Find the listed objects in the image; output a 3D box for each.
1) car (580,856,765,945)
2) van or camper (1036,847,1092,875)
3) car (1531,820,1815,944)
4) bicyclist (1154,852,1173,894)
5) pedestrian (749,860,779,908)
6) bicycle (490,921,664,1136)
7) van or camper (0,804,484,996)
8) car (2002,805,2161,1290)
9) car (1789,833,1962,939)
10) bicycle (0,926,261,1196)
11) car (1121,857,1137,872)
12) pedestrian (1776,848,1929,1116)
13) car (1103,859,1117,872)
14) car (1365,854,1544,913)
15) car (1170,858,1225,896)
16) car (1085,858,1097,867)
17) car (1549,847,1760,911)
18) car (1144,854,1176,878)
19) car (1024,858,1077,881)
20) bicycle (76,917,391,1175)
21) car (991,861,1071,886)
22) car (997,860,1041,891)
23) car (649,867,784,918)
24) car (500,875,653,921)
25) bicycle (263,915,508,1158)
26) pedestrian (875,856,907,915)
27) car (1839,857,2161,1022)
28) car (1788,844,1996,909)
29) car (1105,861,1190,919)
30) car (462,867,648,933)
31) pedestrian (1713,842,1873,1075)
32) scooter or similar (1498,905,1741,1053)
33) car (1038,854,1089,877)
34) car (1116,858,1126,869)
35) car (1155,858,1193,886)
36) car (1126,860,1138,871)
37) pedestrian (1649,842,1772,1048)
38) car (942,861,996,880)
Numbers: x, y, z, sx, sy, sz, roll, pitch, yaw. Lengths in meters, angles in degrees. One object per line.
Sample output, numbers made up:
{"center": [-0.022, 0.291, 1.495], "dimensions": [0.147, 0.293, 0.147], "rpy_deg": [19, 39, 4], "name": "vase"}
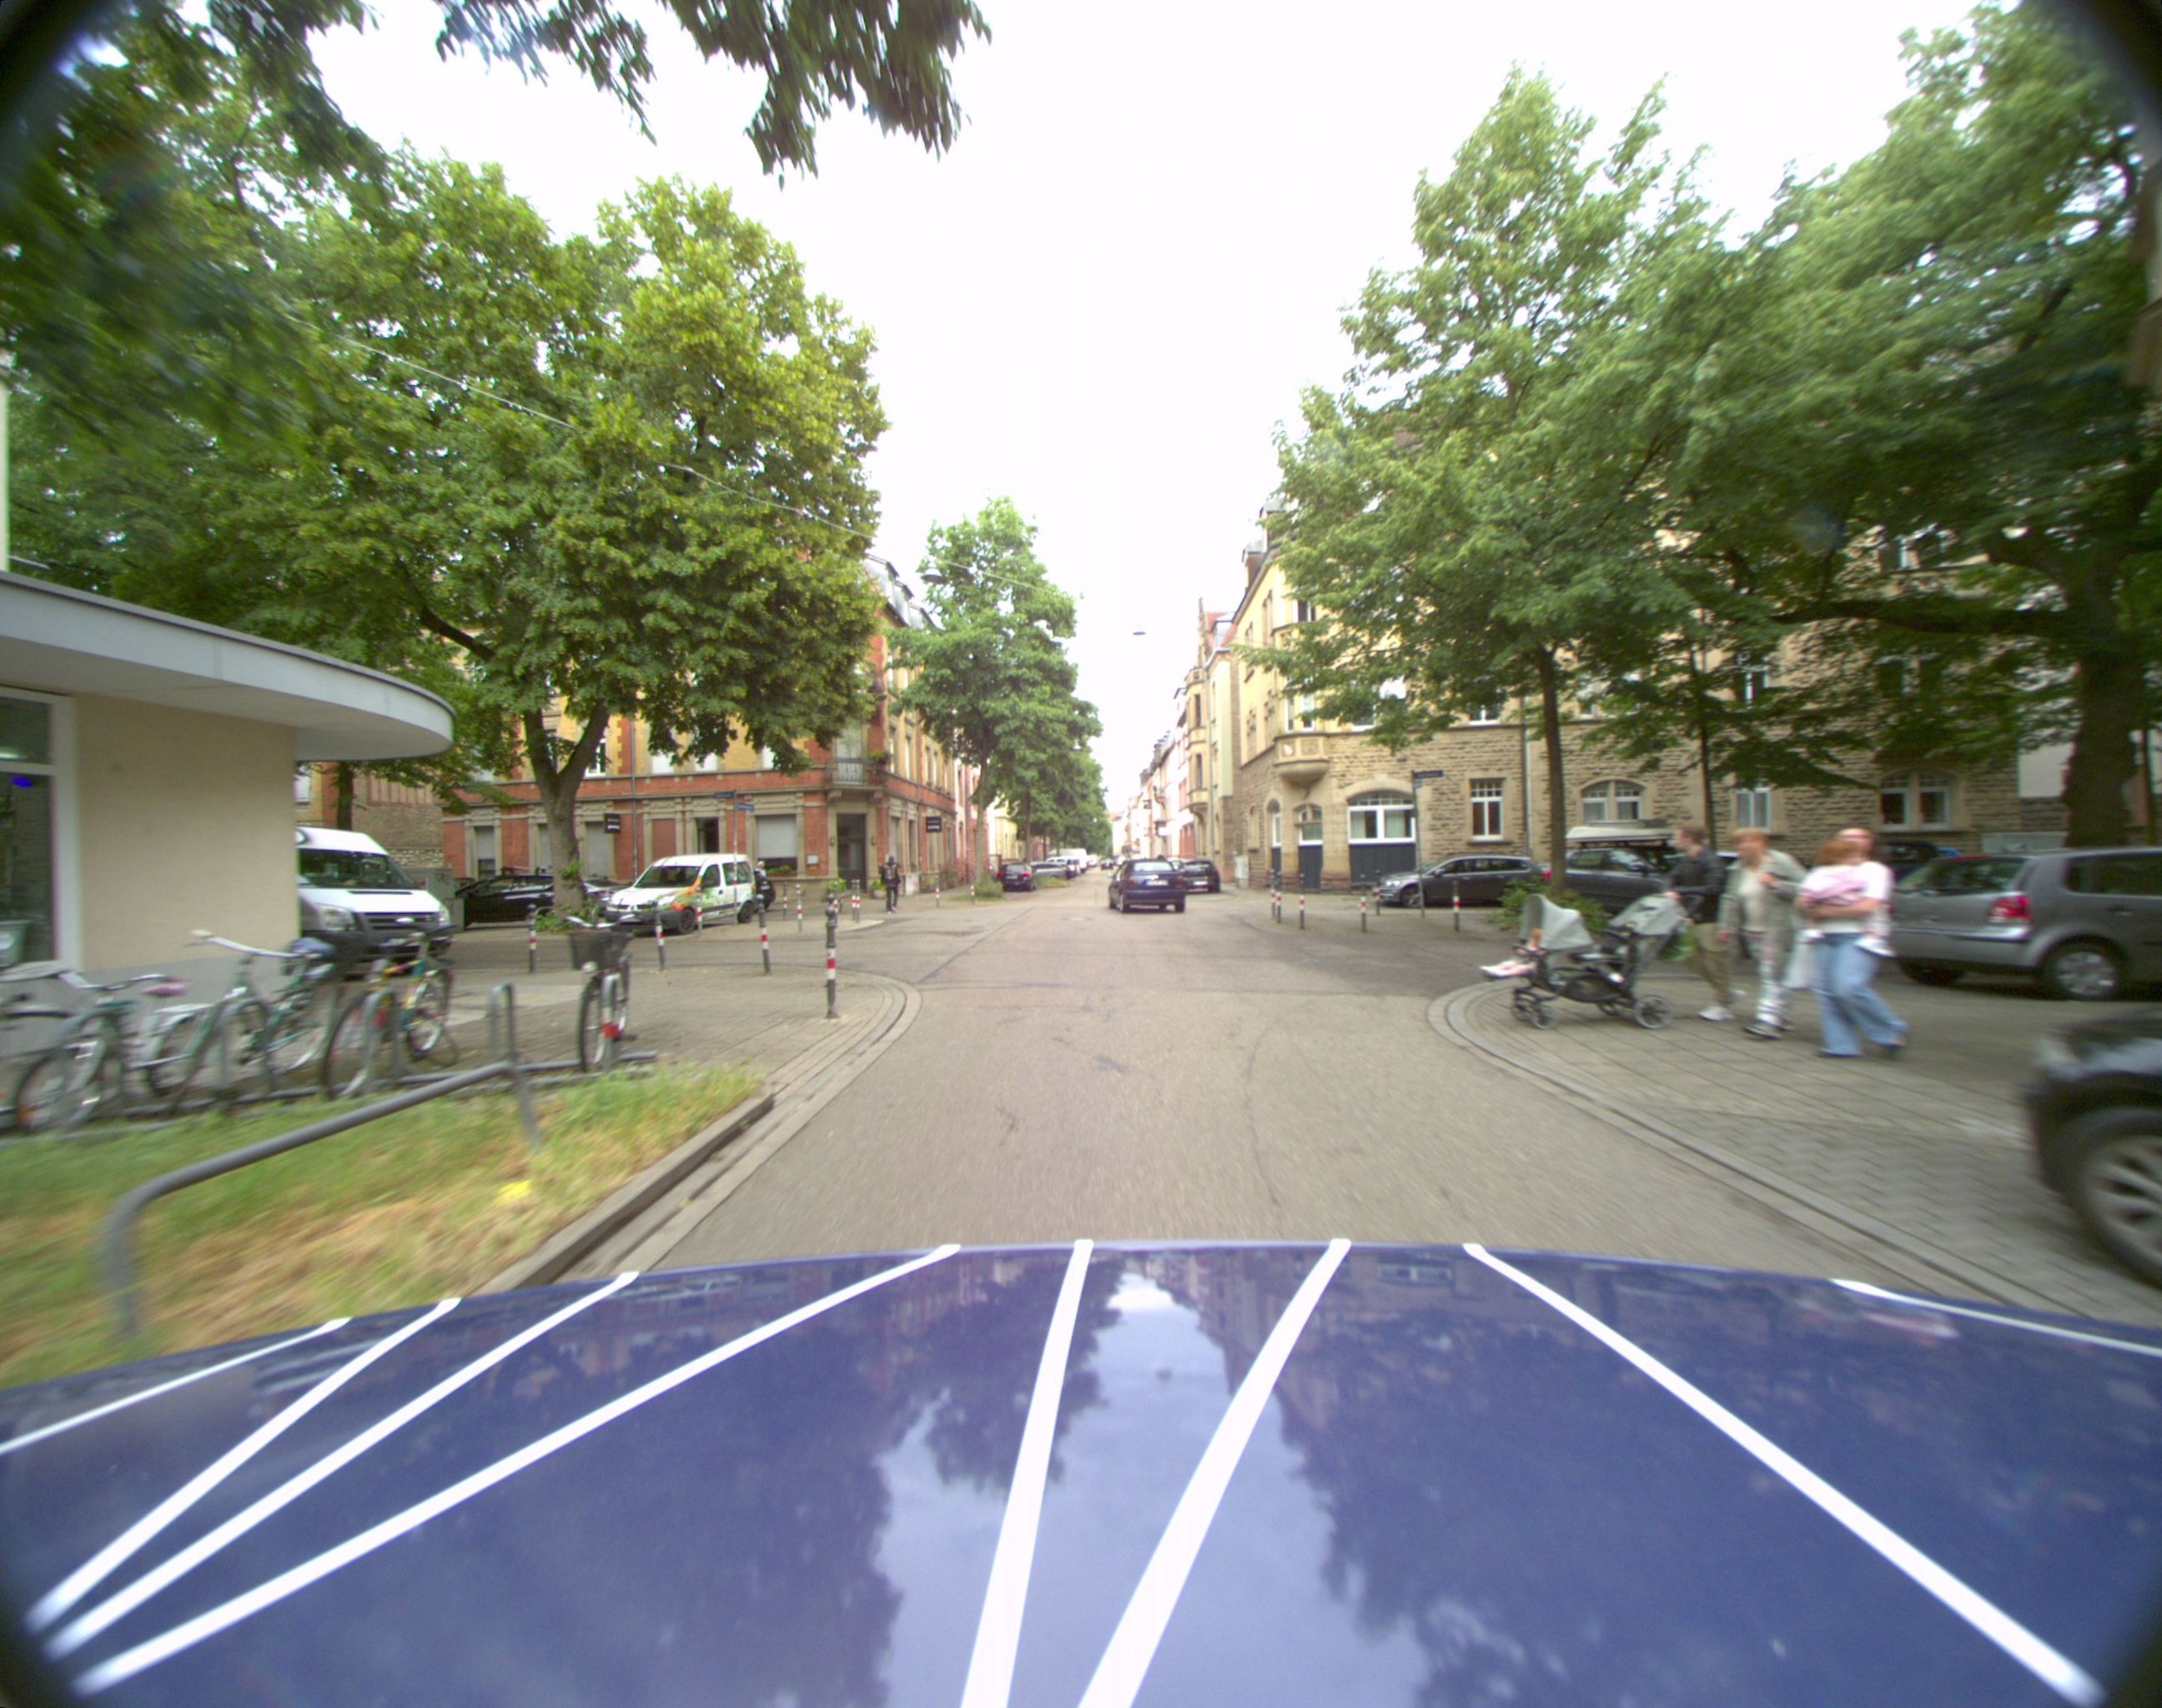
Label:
{"center": [-9.245, 0.963, 17.616], "dimensions": [1.774, 1.808, 4.002], "rpy_deg": [-1, 0, 6], "name": "car"}
{"center": [-1.654, 0.656, 75.058], "dimensions": [5.077, 2.575, 2.069], "rpy_deg": [-1, 0, -28], "name": "van or camper"}
{"center": [10.811, 0.462, 14.295], "dimensions": [1.833, 1.956, 3.958], "rpy_deg": [-2, 0, -11], "name": "car"}
{"center": [3.108, 0.707, 28.623], "dimensions": [0.649, 1.529, 0.677], "rpy_deg": [-1, 1, 4], "name": "bicyclist"}
{"center": [-11.398, 1.075, 27.326], "dimensions": [0.748, 1.696, 0.563], "rpy_deg": [-1, 1, 13], "name": "pedestrian"}
{"center": [-3.442, 1.095, 5.353], "dimensions": [0.608, 1.088, 1.782], "rpy_deg": [-2, 0, -20], "name": "bicycle"}
{"center": [-12.443, 0.719, 11.403], "dimensions": [5.781, 2.478, 2.139], "rpy_deg": [-2, -3, 10], "name": "van or camper"}
{"center": [4.101, 0.653, 0.718], "dimensions": [1.713, 1.486, 3.999], "rpy_deg": [-3, 3, 3], "name": "car"}
{"center": [14.454, 0.486, 14.022], "dimensions": [1.649, 1.508, 3.618], "rpy_deg": [-1, 4, 37], "name": "car"}
{"center": [-5.817, 1.111, 4.500], "dimensions": [0.550, 1.167, 1.694], "rpy_deg": [-2, 1, -20], "name": "bicycle"}
{"center": [6.068, 1.299, 95.989], "dimensions": [1.843, 1.849, 4.001], "rpy_deg": [-2, 0, 3], "name": "car"}
{"center": [5.010, 0.769, 4.977], "dimensions": [0.630, 1.584, 0.671], "rpy_deg": [-2, 0, 43], "name": "pedestrian"}
{"center": [4.078, 1.594, 107.373], "dimensions": [1.813, 1.620, 4.208], "rpy_deg": [-2, 0, 3], "name": "car"}
{"center": [10.483, 0.830, 21.606], "dimensions": [4.279, 1.459, 1.663], "rpy_deg": [-1, 4, 9], "name": "car"}
{"center": [4.841, 0.946, 32.078], "dimensions": [1.732, 1.425, 3.882], "rpy_deg": [-3, -1, 1], "name": "car"}
{"center": [1.979, 1.653, 146.265], "dimensions": [1.998, 1.739, 4.001], "rpy_deg": [-2, 0, 4], "name": "car"}
{"center": [15.383, 0.659, 20.593], "dimensions": [4.279, 1.459, 1.663], "rpy_deg": [-2, 4, 9], "name": "car"}
{"center": [5.355, 0.791, 51.857], "dimensions": [1.671, 1.502, 3.553], "rpy_deg": [-2, 0, -3], "name": "car"}
{"center": [-2.269, 1.148, 55.779], "dimensions": [3.472, 1.554, 1.784], "rpy_deg": [-2, 0, -21], "name": "car"}
{"center": [-5.209, 1.074, 4.843], "dimensions": [0.550, 1.167, 1.725], "rpy_deg": [-2, 1, -20], "name": "bicycle"}
{"center": [-2.985, 1.133, 45.771], "dimensions": [4.453, 1.419, 1.754], "rpy_deg": [1, 0, -32], "name": "car"}
{"center": [-3.115, 1.065, 38.812], "dimensions": [1.768, 1.477, 4.480], "rpy_deg": [0, 0, 2], "name": "car"}
{"center": [-12.403, 1.294, 25.976], "dimensions": [3.829, 1.531, 1.661], "rpy_deg": [-2, 1, 8], "name": "car"}
{"center": [-17.826, 1.549, 26.923], "dimensions": [4.325, 1.347, 2.001], "rpy_deg": [-2, 2, 13], "name": "car"}
{"center": [-4.511, 1.083, 5.090], "dimensions": [0.550, 1.167, 1.725], "rpy_deg": [-2, 1, -20], "name": "bicycle"}
{"center": [-5.873, 0.971, 23.536], "dimensions": [0.781, 1.786, 0.509], "rpy_deg": [-2, 0, 4], "name": "pedestrian"}
{"center": [10.163, 0.775, 7.426], "dimensions": [3.574, 1.451, 1.651], "rpy_deg": [0, -2, 11], "name": "car"}
{"center": [20.986, 0.576, 19.813], "dimensions": [3.386, 1.459, 1.663], "rpy_deg": [-2, 4, 9], "name": "car"}
{"center": [1.696, 0.927, 20.703], "dimensions": [1.713, 1.405, 3.852], "rpy_deg": [-1, -1, -4], "name": "car"}
{"center": [-14.302, 1.214, 20.941], "dimensions": [3.957, 1.571, 1.682], "rpy_deg": [-1, -1, -26], "name": "car"}
{"center": [5.290, 0.743, 5.683], "dimensions": [0.617, 1.633, 0.604], "rpy_deg": [-2, 0, 14], "name": "pedestrian"}
{"center": [4.456, 1.037, 6.395], "dimensions": [1.471, 1.097, 0.676], "rpy_deg": [-4, 0, 13], "name": "scooter or similar"}
{"center": [-1.464, 0.968, 64.035], "dimensions": [3.993, 1.801, 1.722], "rpy_deg": [-1, 0, 13], "name": "car"}
{"center": [8.418, 2.018, 160.805], "dimensions": [2.052, 2.071, 3.812], "rpy_deg": [-3, 0, 3], "name": "car"}
{"center": [5.097, 0.970, 41.932], "dimensions": [1.593, 1.425, 3.810], "rpy_deg": [-3, -1, 1], "name": "car"}
{"center": [6.781, 1.548, 101.568], "dimensions": [1.457, 1.401, 3.812], "rpy_deg": [-3, -1, 3], "name": "car"}
{"center": [5.264, 0.737, 6.378], "dimensions": [0.529, 1.633, 0.528], "rpy_deg": [-3, 0, 4], "name": "pedestrian"}
{"center": [-8.889, 1.310, 60.395], "dimensions": [3.997, 1.445, 1.609], "rpy_deg": [-1, 0, 1], "name": "car"}
